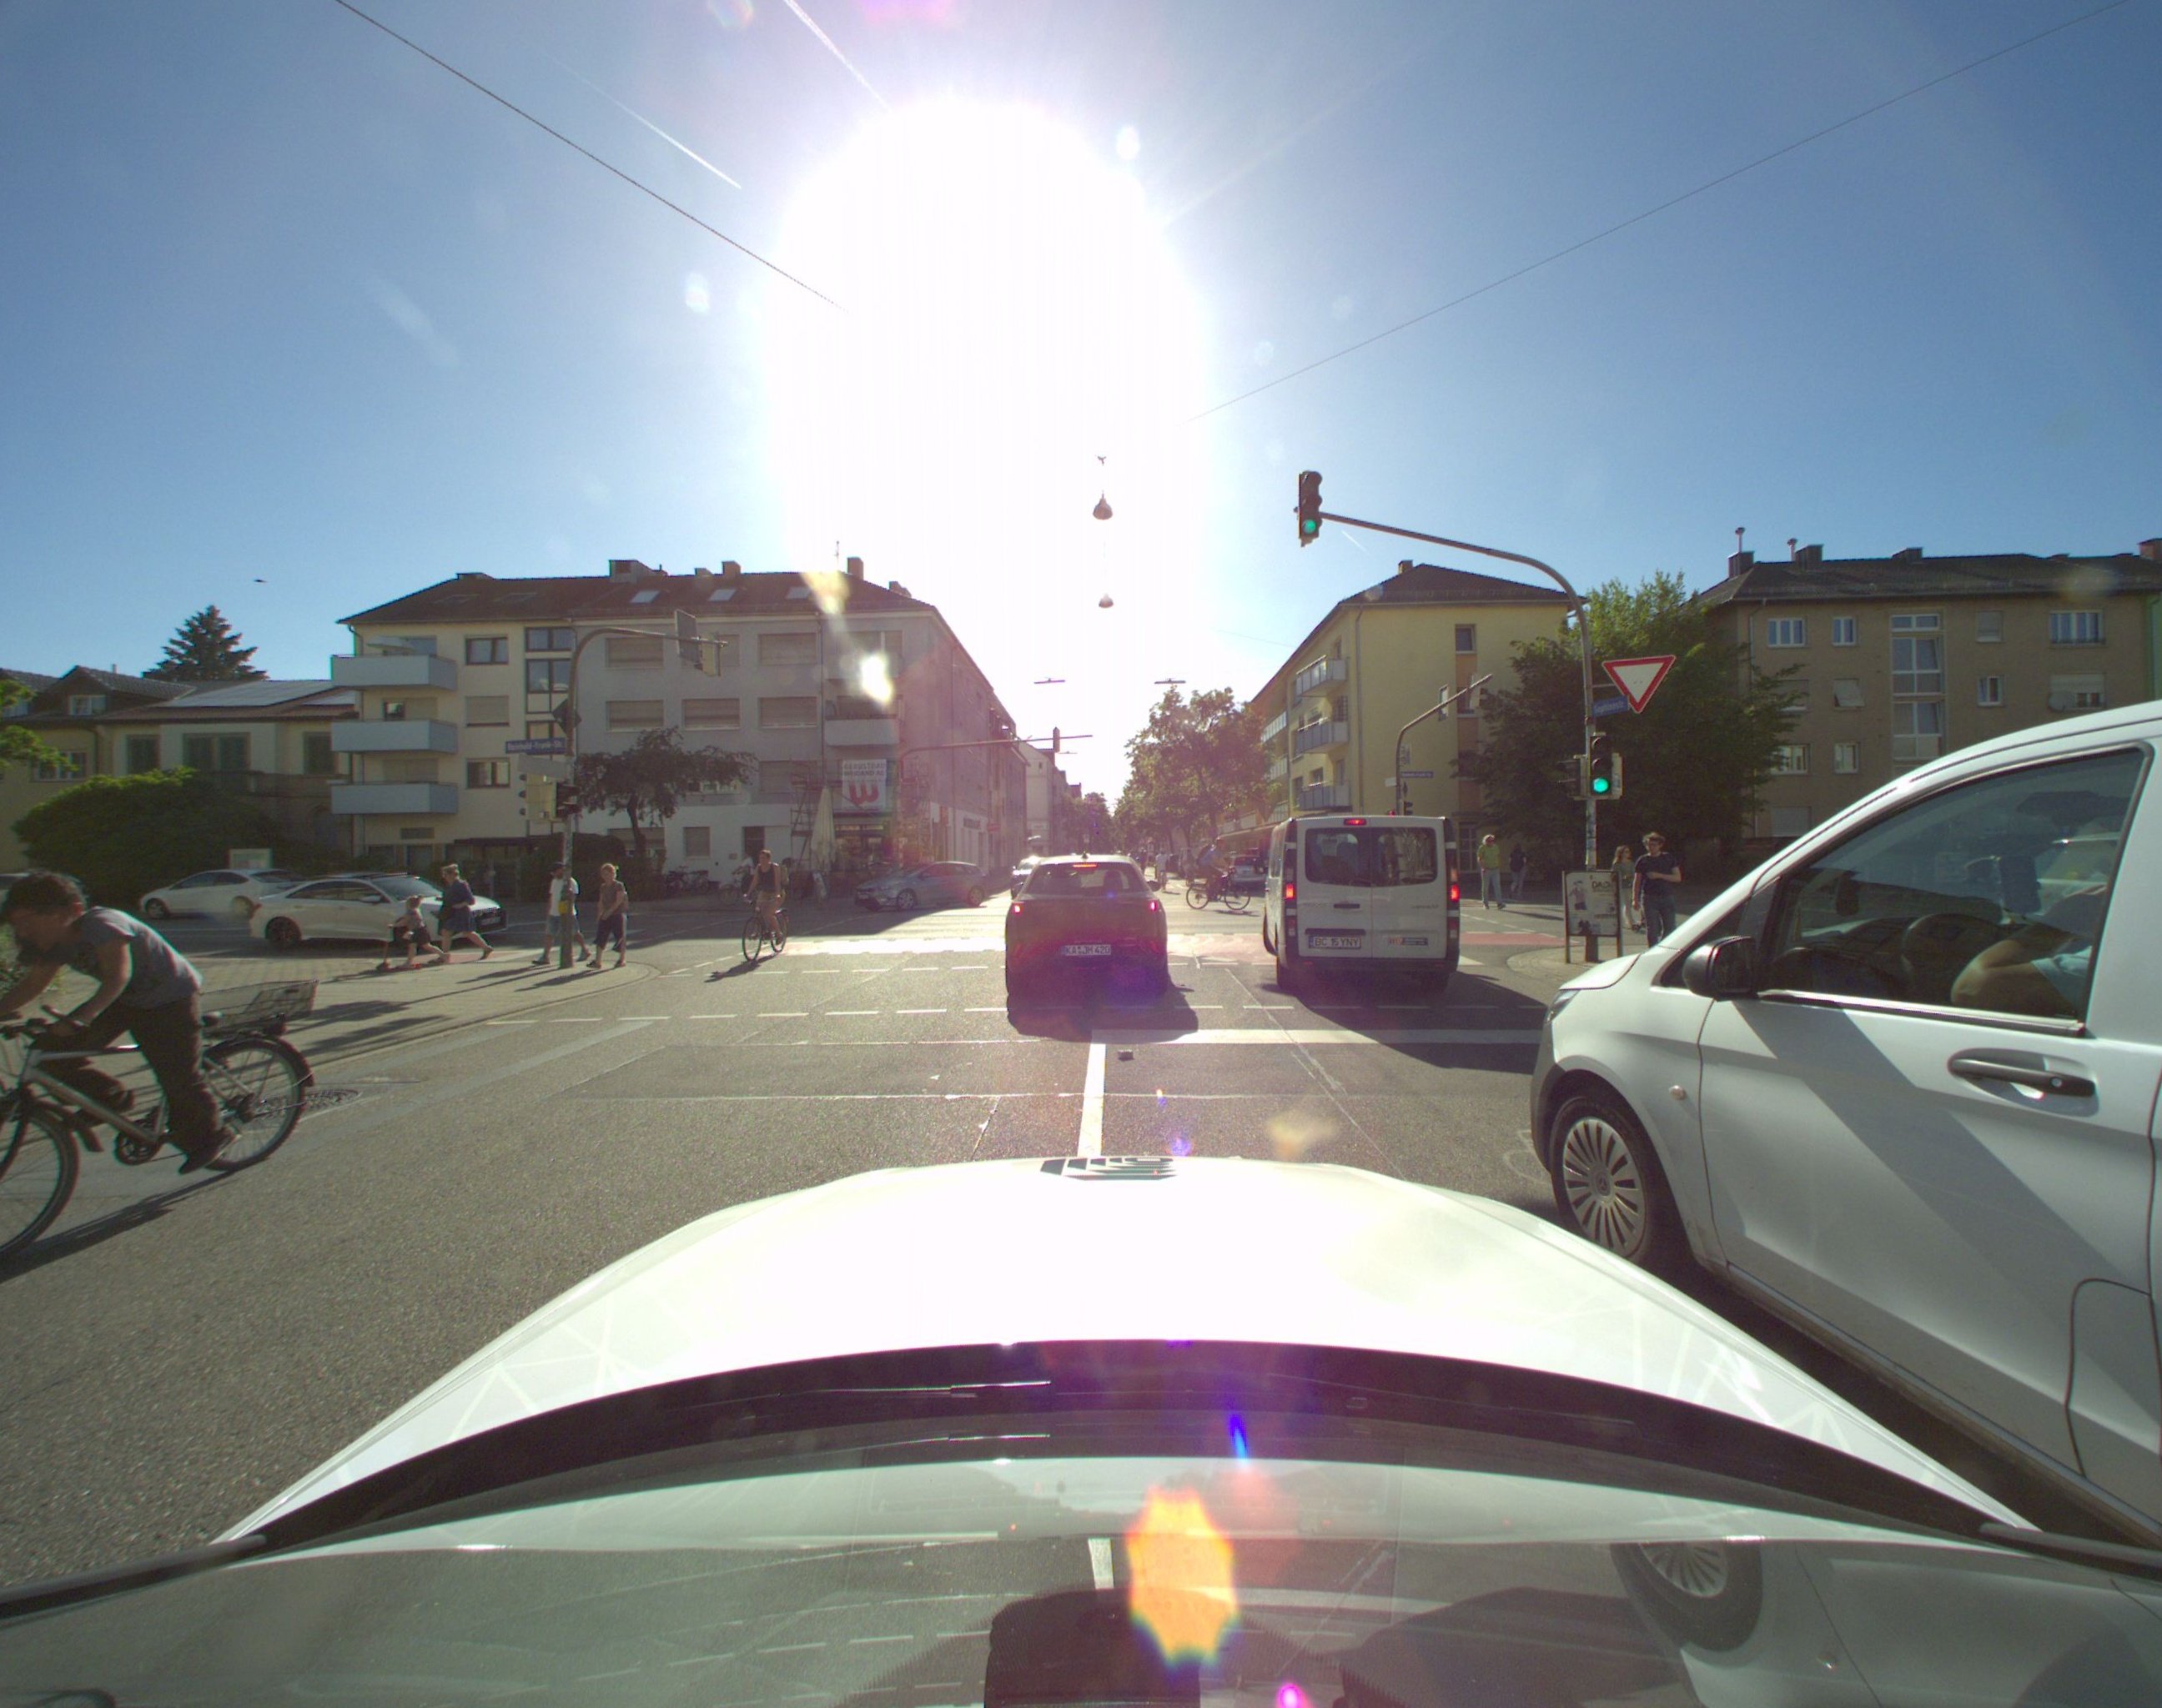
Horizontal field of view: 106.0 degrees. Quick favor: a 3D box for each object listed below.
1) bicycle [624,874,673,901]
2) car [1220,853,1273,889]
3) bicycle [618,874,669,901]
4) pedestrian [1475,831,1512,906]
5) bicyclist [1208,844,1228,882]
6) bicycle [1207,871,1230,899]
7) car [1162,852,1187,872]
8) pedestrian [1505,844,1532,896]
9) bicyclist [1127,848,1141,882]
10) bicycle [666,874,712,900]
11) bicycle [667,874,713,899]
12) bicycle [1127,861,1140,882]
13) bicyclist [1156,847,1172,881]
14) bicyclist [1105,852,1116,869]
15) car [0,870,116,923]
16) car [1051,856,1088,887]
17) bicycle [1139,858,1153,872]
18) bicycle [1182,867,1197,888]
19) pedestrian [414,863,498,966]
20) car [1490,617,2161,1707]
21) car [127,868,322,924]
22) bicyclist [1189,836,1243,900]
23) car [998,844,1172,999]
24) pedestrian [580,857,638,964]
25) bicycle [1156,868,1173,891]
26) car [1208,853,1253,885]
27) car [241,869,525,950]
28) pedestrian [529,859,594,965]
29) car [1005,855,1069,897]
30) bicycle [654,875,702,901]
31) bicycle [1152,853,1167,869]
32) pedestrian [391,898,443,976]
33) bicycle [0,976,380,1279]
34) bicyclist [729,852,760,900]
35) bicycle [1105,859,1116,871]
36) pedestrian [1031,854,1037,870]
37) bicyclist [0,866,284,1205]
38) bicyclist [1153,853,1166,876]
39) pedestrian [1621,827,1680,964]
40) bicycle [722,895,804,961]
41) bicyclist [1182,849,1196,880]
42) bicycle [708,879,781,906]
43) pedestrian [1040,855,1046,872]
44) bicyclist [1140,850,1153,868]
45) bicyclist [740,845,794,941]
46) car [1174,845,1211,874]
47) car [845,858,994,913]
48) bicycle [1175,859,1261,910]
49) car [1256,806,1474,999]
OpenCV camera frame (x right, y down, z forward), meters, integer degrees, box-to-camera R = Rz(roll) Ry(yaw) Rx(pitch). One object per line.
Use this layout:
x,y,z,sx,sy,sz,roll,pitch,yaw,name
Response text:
-16.180,1.249,30.483,1.582,0.940,0.513,-1,0,4,bicycle
7.141,0.698,35.426,1.706,1.483,3.482,-1,0,2,car
-16.021,1.230,29.850,1.582,0.940,0.513,-1,0,4,bicycle
9.825,0.342,19.418,0.524,1.762,0.623,-1,0,0,pedestrian
4.611,0.304,27.464,0.544,1.262,0.803,-1,0,3,bicyclist
4.624,1.036,27.388,0.544,0.866,1.878,-1,0,3,bicycle
7.586,0.634,66.380,1.706,1.483,3.383,-1,0,2,car
13.488,0.497,25.128,0.537,1.571,0.539,-1,0,2,pedestrian
2.702,0.552,41.757,0.630,1.669,1.051,-2,0,2,bicyclist
-15.433,1.300,32.073,1.582,0.940,0.513,-1,0,4,bicycle
-15.742,1.309,32.777,1.582,0.940,0.513,-1,0,4,bicycle
2.691,0.896,41.878,0.630,1.041,1.796,-2,0,2,bicycle
3.475,0.413,34.084,0.586,1.382,0.823,-1,0,3,bicyclist
2.284,0.478,63.529,0.853,1.314,1.211,1,0,2,bicyclist
-33.232,1.320,25.383,3.972,1.429,1.917,-1,2,1,car
-0.595,0.877,42.525,1.799,1.413,4.424,-3,0,-1,car
4.634,0.762,58.188,0.853,0.945,2.308,1,0,2,bicycle
4.934,1.061,37.123,0.544,0.866,1.878,-1,0,3,bicycle
-10.680,1.002,13.939,0.568,1.683,0.974,-1,0,24,pedestrian
2.765,0.499,1.167,1.961,1.810,4.833,-1,0,1,car
-26.427,1.262,25.240,3.972,1.519,1.916,-1,1,1,car
3.550,0.361,21.387,1.111,1.649,0.809,-1,0,42,bicyclist
0.106,0.701,10.333,1.756,1.558,4.002,-1,0,2,car
-7.220,0.847,12.472,0.529,1.581,0.563,-1,0,2,pedestrian
3.481,1.043,34.013,0.617,0.866,1.878,-1,0,3,bicycle
7.288,0.689,39.901,1.706,1.483,3.383,-1,0,2,car
-14.381,1.117,16.954,4.235,1.435,1.937,0,3,3,car
-8.539,0.929,13.401,0.570,1.689,0.671,-1,0,7,pedestrian
-1.711,0.843,33.112,1.582,1.566,4.101,-2,-1,11,car
-15.473,1.287,31.267,1.582,0.940,0.513,-1,0,4,bicycle
4.285,0.377,44.585,0.688,0.866,1.878,-1,0,3,bicycle
-10.236,1.263,12.555,0.382,1.146,0.535,-1,0,38,pedestrian
-4.357,1.165,3.804,0.541,0.902,1.827,-1,0,1,bicycle
-11.048,0.721,26.759,0.811,1.549,0.553,0,0,-9,bicyclist
2.280,0.841,63.486,0.853,0.945,2.308,1,0,2,bicycle
-4.493,0.756,77.969,0.575,1.467,0.702,-1,0,-3,pedestrian
-4.371,0.761,3.778,0.541,1.391,0.788,-1,0,1,bicyclist
4.291,0.566,44.577,0.689,1.193,0.595,-1,0,3,bicyclist
7.860,0.549,11.260,0.598,1.822,0.632,-1,0,32,pedestrian
-5.154,1.174,13.319,0.540,0.902,1.827,-1,0,2,bicycle
4.932,0.482,37.190,0.544,1.382,0.823,-1,0,3,bicyclist
-11.041,1.245,26.752,2.124,0.833,0.553,0,0,-9,bicycle
-3.598,0.926,77.723,0.575,1.583,0.707,-1,0,-3,pedestrian
4.650,0.349,58.234,0.853,1.314,1.211,1,0,2,bicyclist
-5.162,0.622,13.410,0.540,1.520,0.774,-1,0,2,bicyclist
7.366,0.349,54.008,2.037,1.846,4.588,-1,0,3,car
-4.818,0.895,24.716,1.819,1.433,4.203,-1,0,40,car
3.578,0.781,21.375,2.111,1.255,0.809,-1,0,42,bicycle
3.434,0.493,10.858,1.956,1.940,5.069,0,0,10,car
